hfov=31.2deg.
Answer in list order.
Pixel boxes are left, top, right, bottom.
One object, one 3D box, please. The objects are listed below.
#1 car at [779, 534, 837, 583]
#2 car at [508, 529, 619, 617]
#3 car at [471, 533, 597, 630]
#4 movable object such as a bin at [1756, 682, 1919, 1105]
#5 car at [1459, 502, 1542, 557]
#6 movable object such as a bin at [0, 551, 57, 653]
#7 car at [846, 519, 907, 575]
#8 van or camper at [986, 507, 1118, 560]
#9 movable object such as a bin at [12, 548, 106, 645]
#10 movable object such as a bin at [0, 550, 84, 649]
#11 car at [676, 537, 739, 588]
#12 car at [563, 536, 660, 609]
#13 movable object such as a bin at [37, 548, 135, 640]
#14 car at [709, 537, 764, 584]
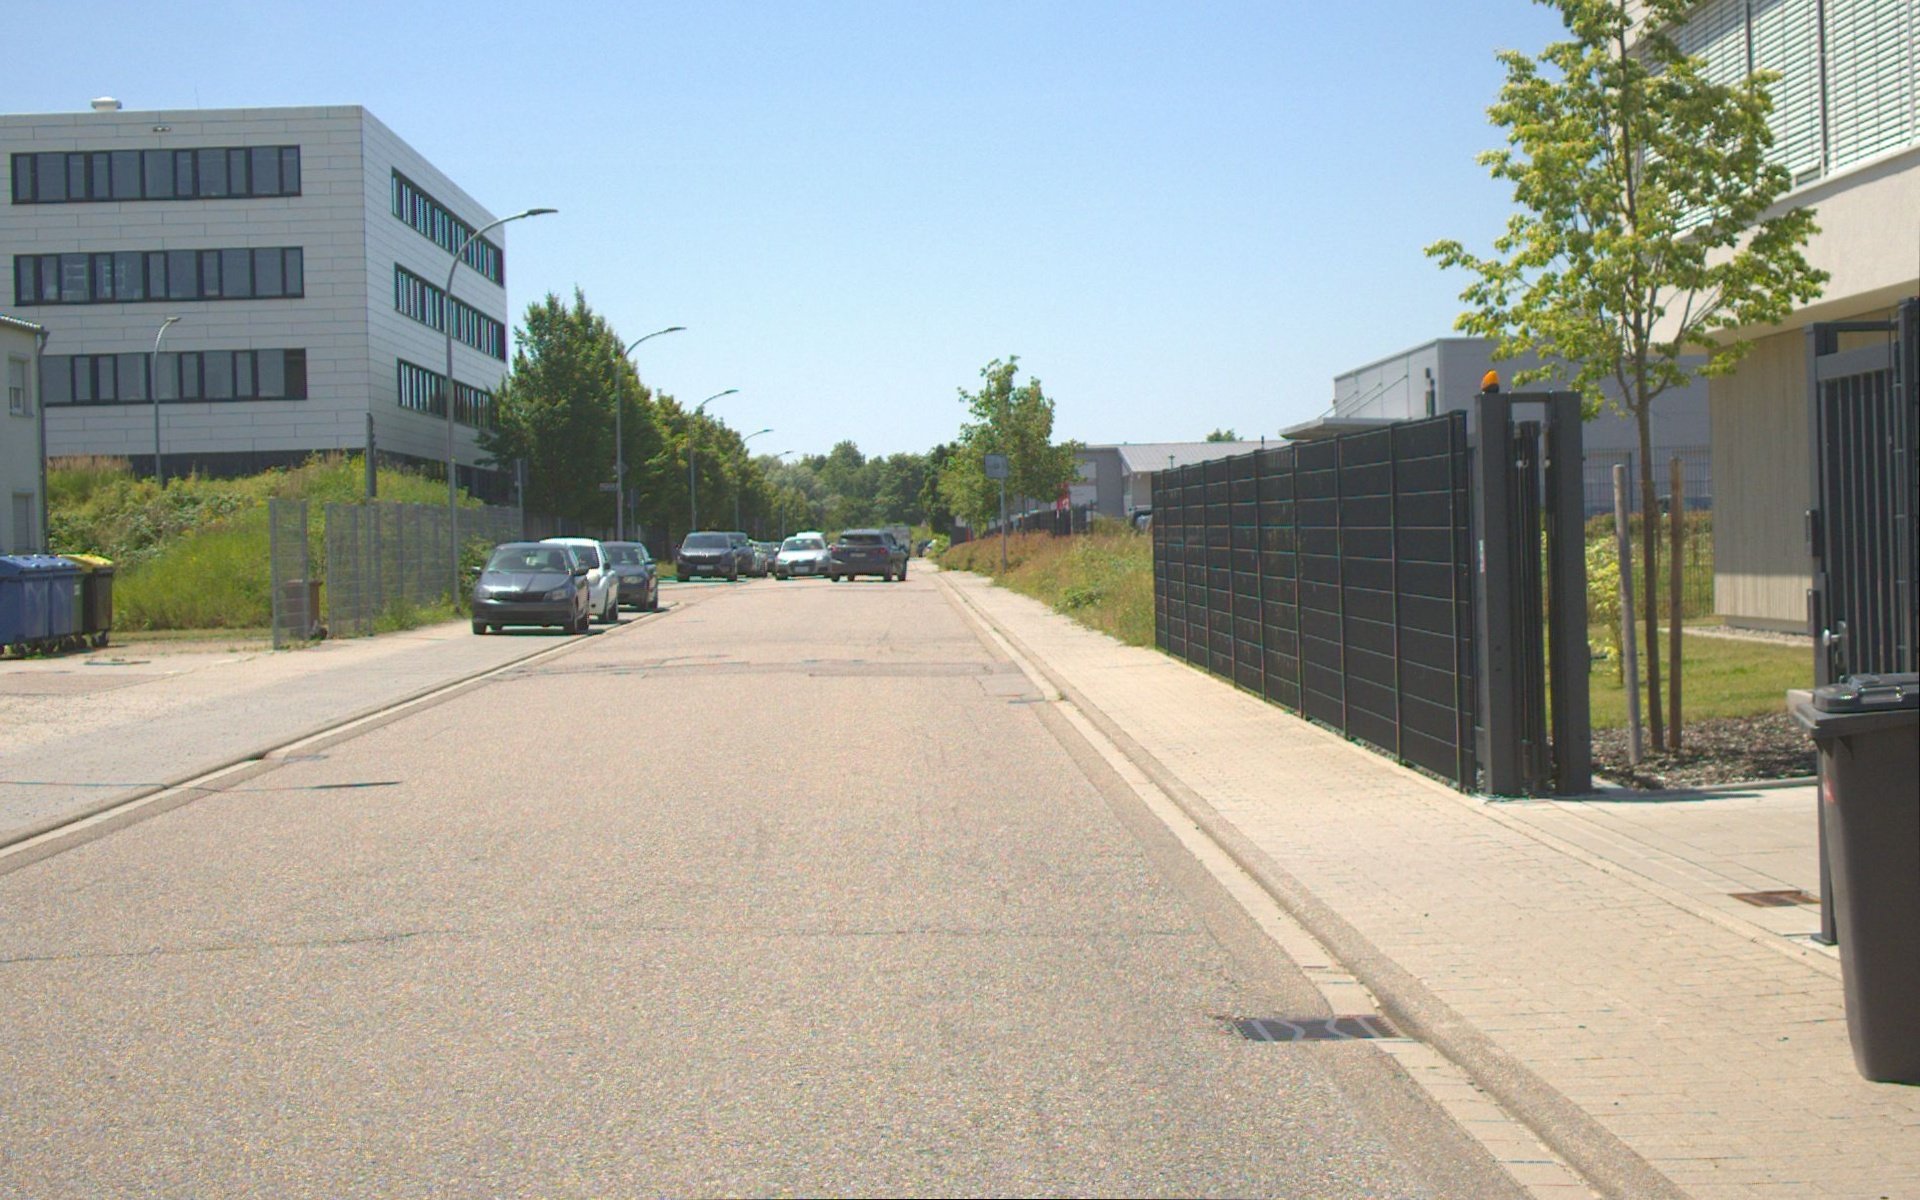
[{"bbox_3d":[-5.025,-1.373,114.038,1.771,1.582,4.076,-1,1,-1],"label":"car"},{"bbox_3d":[-7.263,-0.499,63.247,1.674,1.525,3.758,-1,1,-1],"label":"car"},{"bbox_3d":[-6.969,-0.309,56.534,1.674,1.525,3.910,0,1,-1],"label":"car"},{"bbox_3d":[2.601,0.755,9.167,0.748,1.045,0.698,-2,0,-1],"label":"movable object such as a bin"},{"bbox_3d":[14.599,-1.896,92.968,1.514,1.392,3.541,-2,1,-2],"label":"car"},{"bbox_3d":[-13.763,0.030,49.403,1.143,1.443,1.434,-1,1,2],"label":"movable object such as a bin"},{"bbox_3d":[-2.527,-1.591,103.723,1.789,1.618,3.809,1,1,-1],"label":"car"},{"bbox_3d":[4.864,-3.530,182.481,6.756,2.576,2.636,-2,1,-2],"label":"van or camper"},{"bbox_3d":[-13.718,-0.054,52.371,1.087,1.443,1.389,-1,1,-2],"label":"movable object such as a bin"},{"bbox_3d":[-13.748,-0.012,50.951,1.124,1.443,1.371,-1,1,2],"label":"movable object such as a bin"},{"bbox_3d":[-8.179,-1.227,111.526,1.770,1.582,4.481,-1,1,-1],"label":"car"},{"bbox_3d":[-7.239,-0.584,71.774,1.674,1.445,4.069,-1,1,-1],"label":"car"},{"bbox_3d":[-13.677,-0.098,53.850,1.142,1.400,1.388,-1,1,1],"label":"movable object such as a bin"},{"bbox_3d":[-8.045,-1.431,124.151,1.770,1.618,4.582,-1,1,-1],"label":"car"}]
